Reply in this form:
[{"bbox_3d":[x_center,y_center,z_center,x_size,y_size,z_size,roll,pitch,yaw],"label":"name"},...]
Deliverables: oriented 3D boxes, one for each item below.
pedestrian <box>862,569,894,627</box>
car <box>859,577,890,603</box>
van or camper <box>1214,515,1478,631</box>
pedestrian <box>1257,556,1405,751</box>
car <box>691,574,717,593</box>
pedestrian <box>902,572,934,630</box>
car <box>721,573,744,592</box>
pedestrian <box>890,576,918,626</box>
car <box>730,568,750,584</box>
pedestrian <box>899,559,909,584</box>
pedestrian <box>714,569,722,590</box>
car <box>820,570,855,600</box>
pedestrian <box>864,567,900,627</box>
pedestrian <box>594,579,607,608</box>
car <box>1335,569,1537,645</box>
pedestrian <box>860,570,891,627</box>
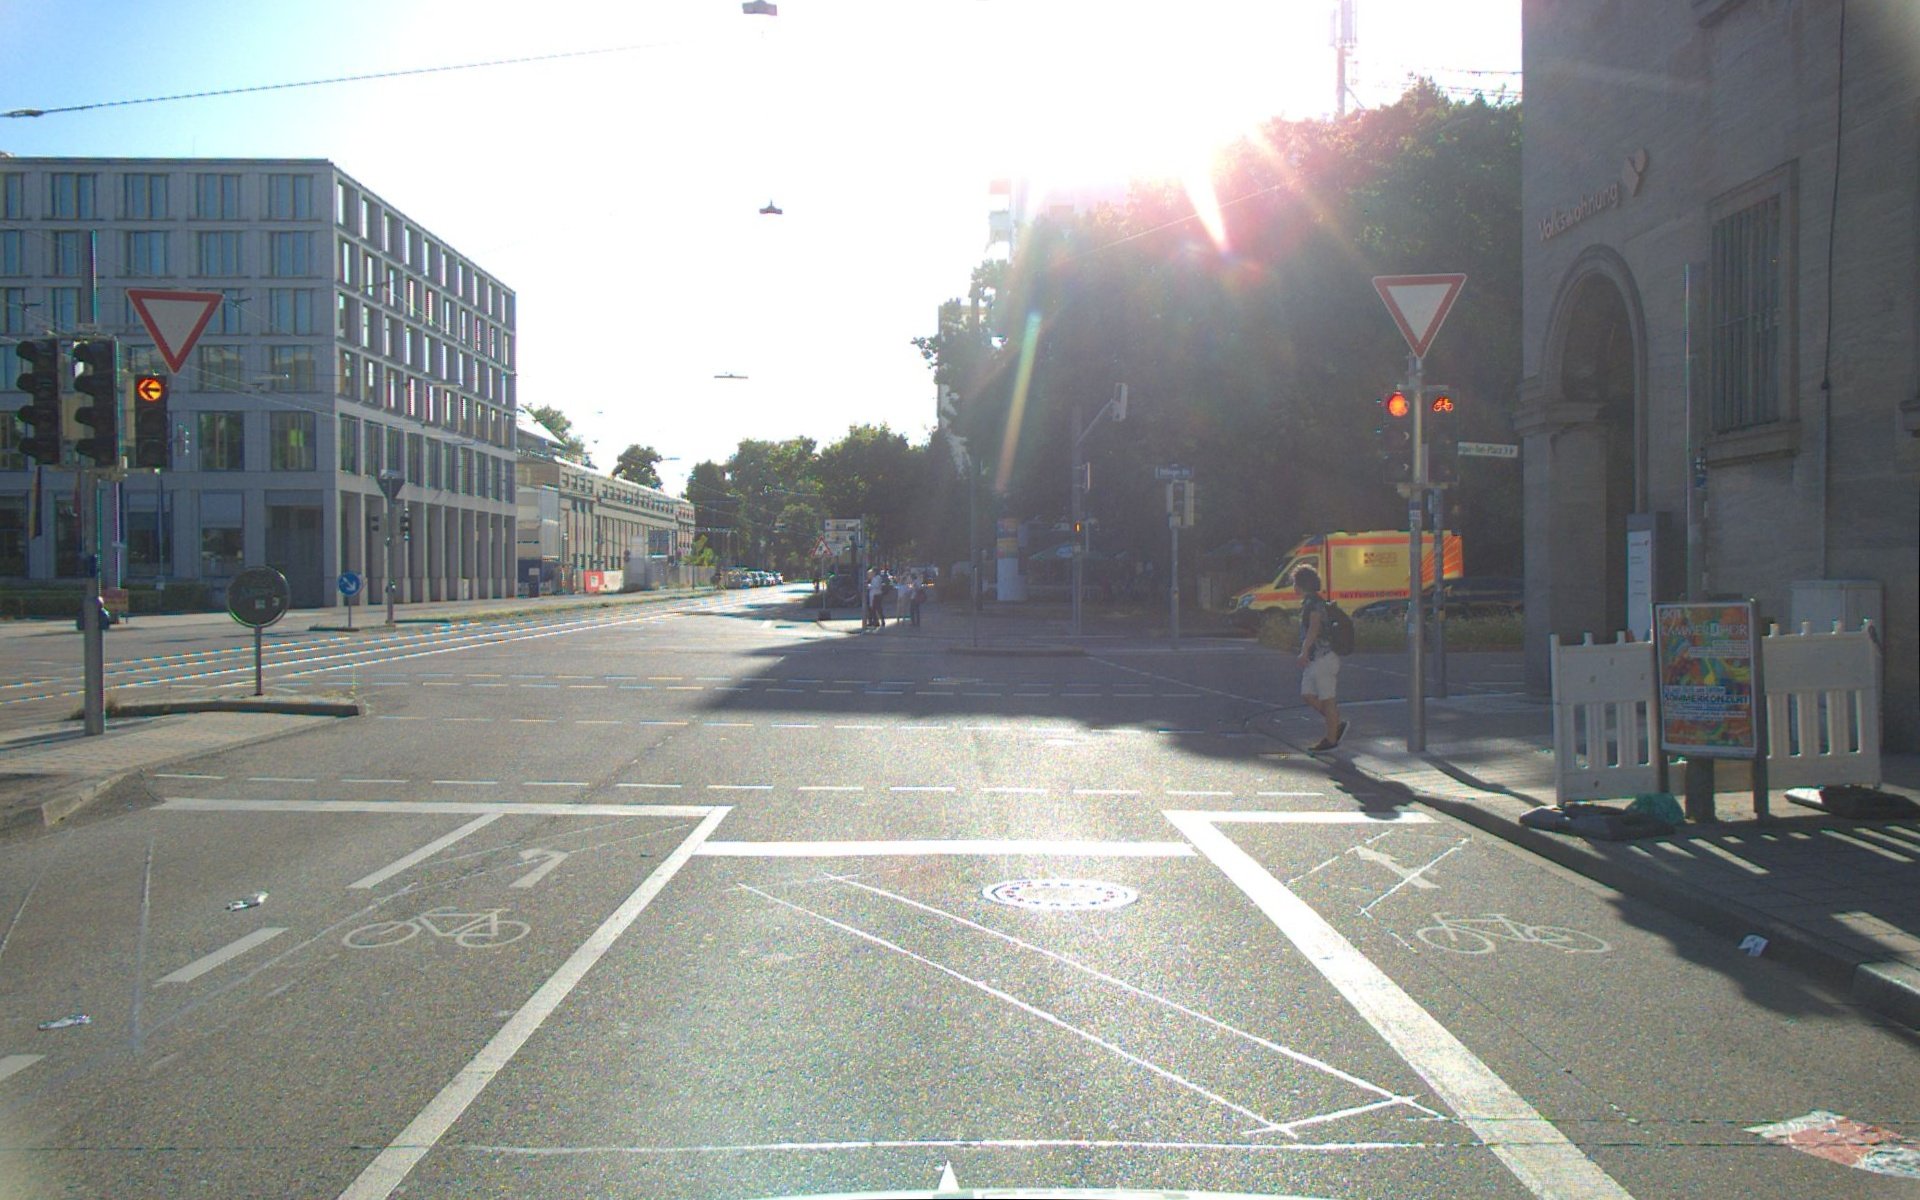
[{"bbox_3d":[-2.626,-0.077,52.808,0.834,1.815,0.776,-1,0,-17],"label":"pedestrian"},{"bbox_3d":[-5.041,-0.577,98.067,1.650,1.527,3.508,1,0,-1],"label":"car"},{"bbox_3d":[10.363,-0.709,44.953,6.567,2.911,2.912,1,0,3],"label":"van or camper"},{"bbox_3d":[3.471,0.476,15.546,1.021,1.751,1.032,-1,0,-12],"label":"pedestrian"},{"bbox_3d":[-23.214,-1.511,150.068,1.782,1.742,3.805,-1,1,-1],"label":"car"},{"bbox_3d":[-1.337,0.035,52.405,0.834,1.815,0.776,-1,0,-17],"label":"pedestrian"},{"bbox_3d":[-22.237,-1.714,161.680,1.782,1.742,3.805,-1,1,-1],"label":"car"},{"bbox_3d":[-1.788,0.015,53.021,0.750,1.586,0.585,-1,0,-17],"label":"pedestrian"},{"bbox_3d":[-22.117,-2.403,166.144,1.577,1.524,3.805,-1,1,-1],"label":"car"},{"bbox_3d":[-8.521,-4.317,252.003,1.373,3.659,1.567,1,0,-1],"label":"pedestrian"},{"bbox_3d":[-17.697,-1.483,120.899,0.513,1.510,0.437,1,-1,-2],"label":"pedestrian"},{"bbox_3d":[-6.581,-0.803,88.851,1.650,1.527,3.508,1,0,-1],"label":"car"},{"bbox_3d":[-2.410,-0.100,51.083,0.950,1.815,0.776,-1,0,-17],"label":"pedestrian"},{"bbox_3d":[-16.589,-0.312,76.324,0.501,1.352,0.369,0,0,1],"label":"pedestrian"},{"bbox_3d":[11.237,0.168,39.253,4.226,1.676,1.888,1,0,-1],"label":"car"},{"bbox_3d":[-2.751,-0.051,53.688,0.834,1.815,0.776,-1,0,-17],"label":"pedestrian"}]
